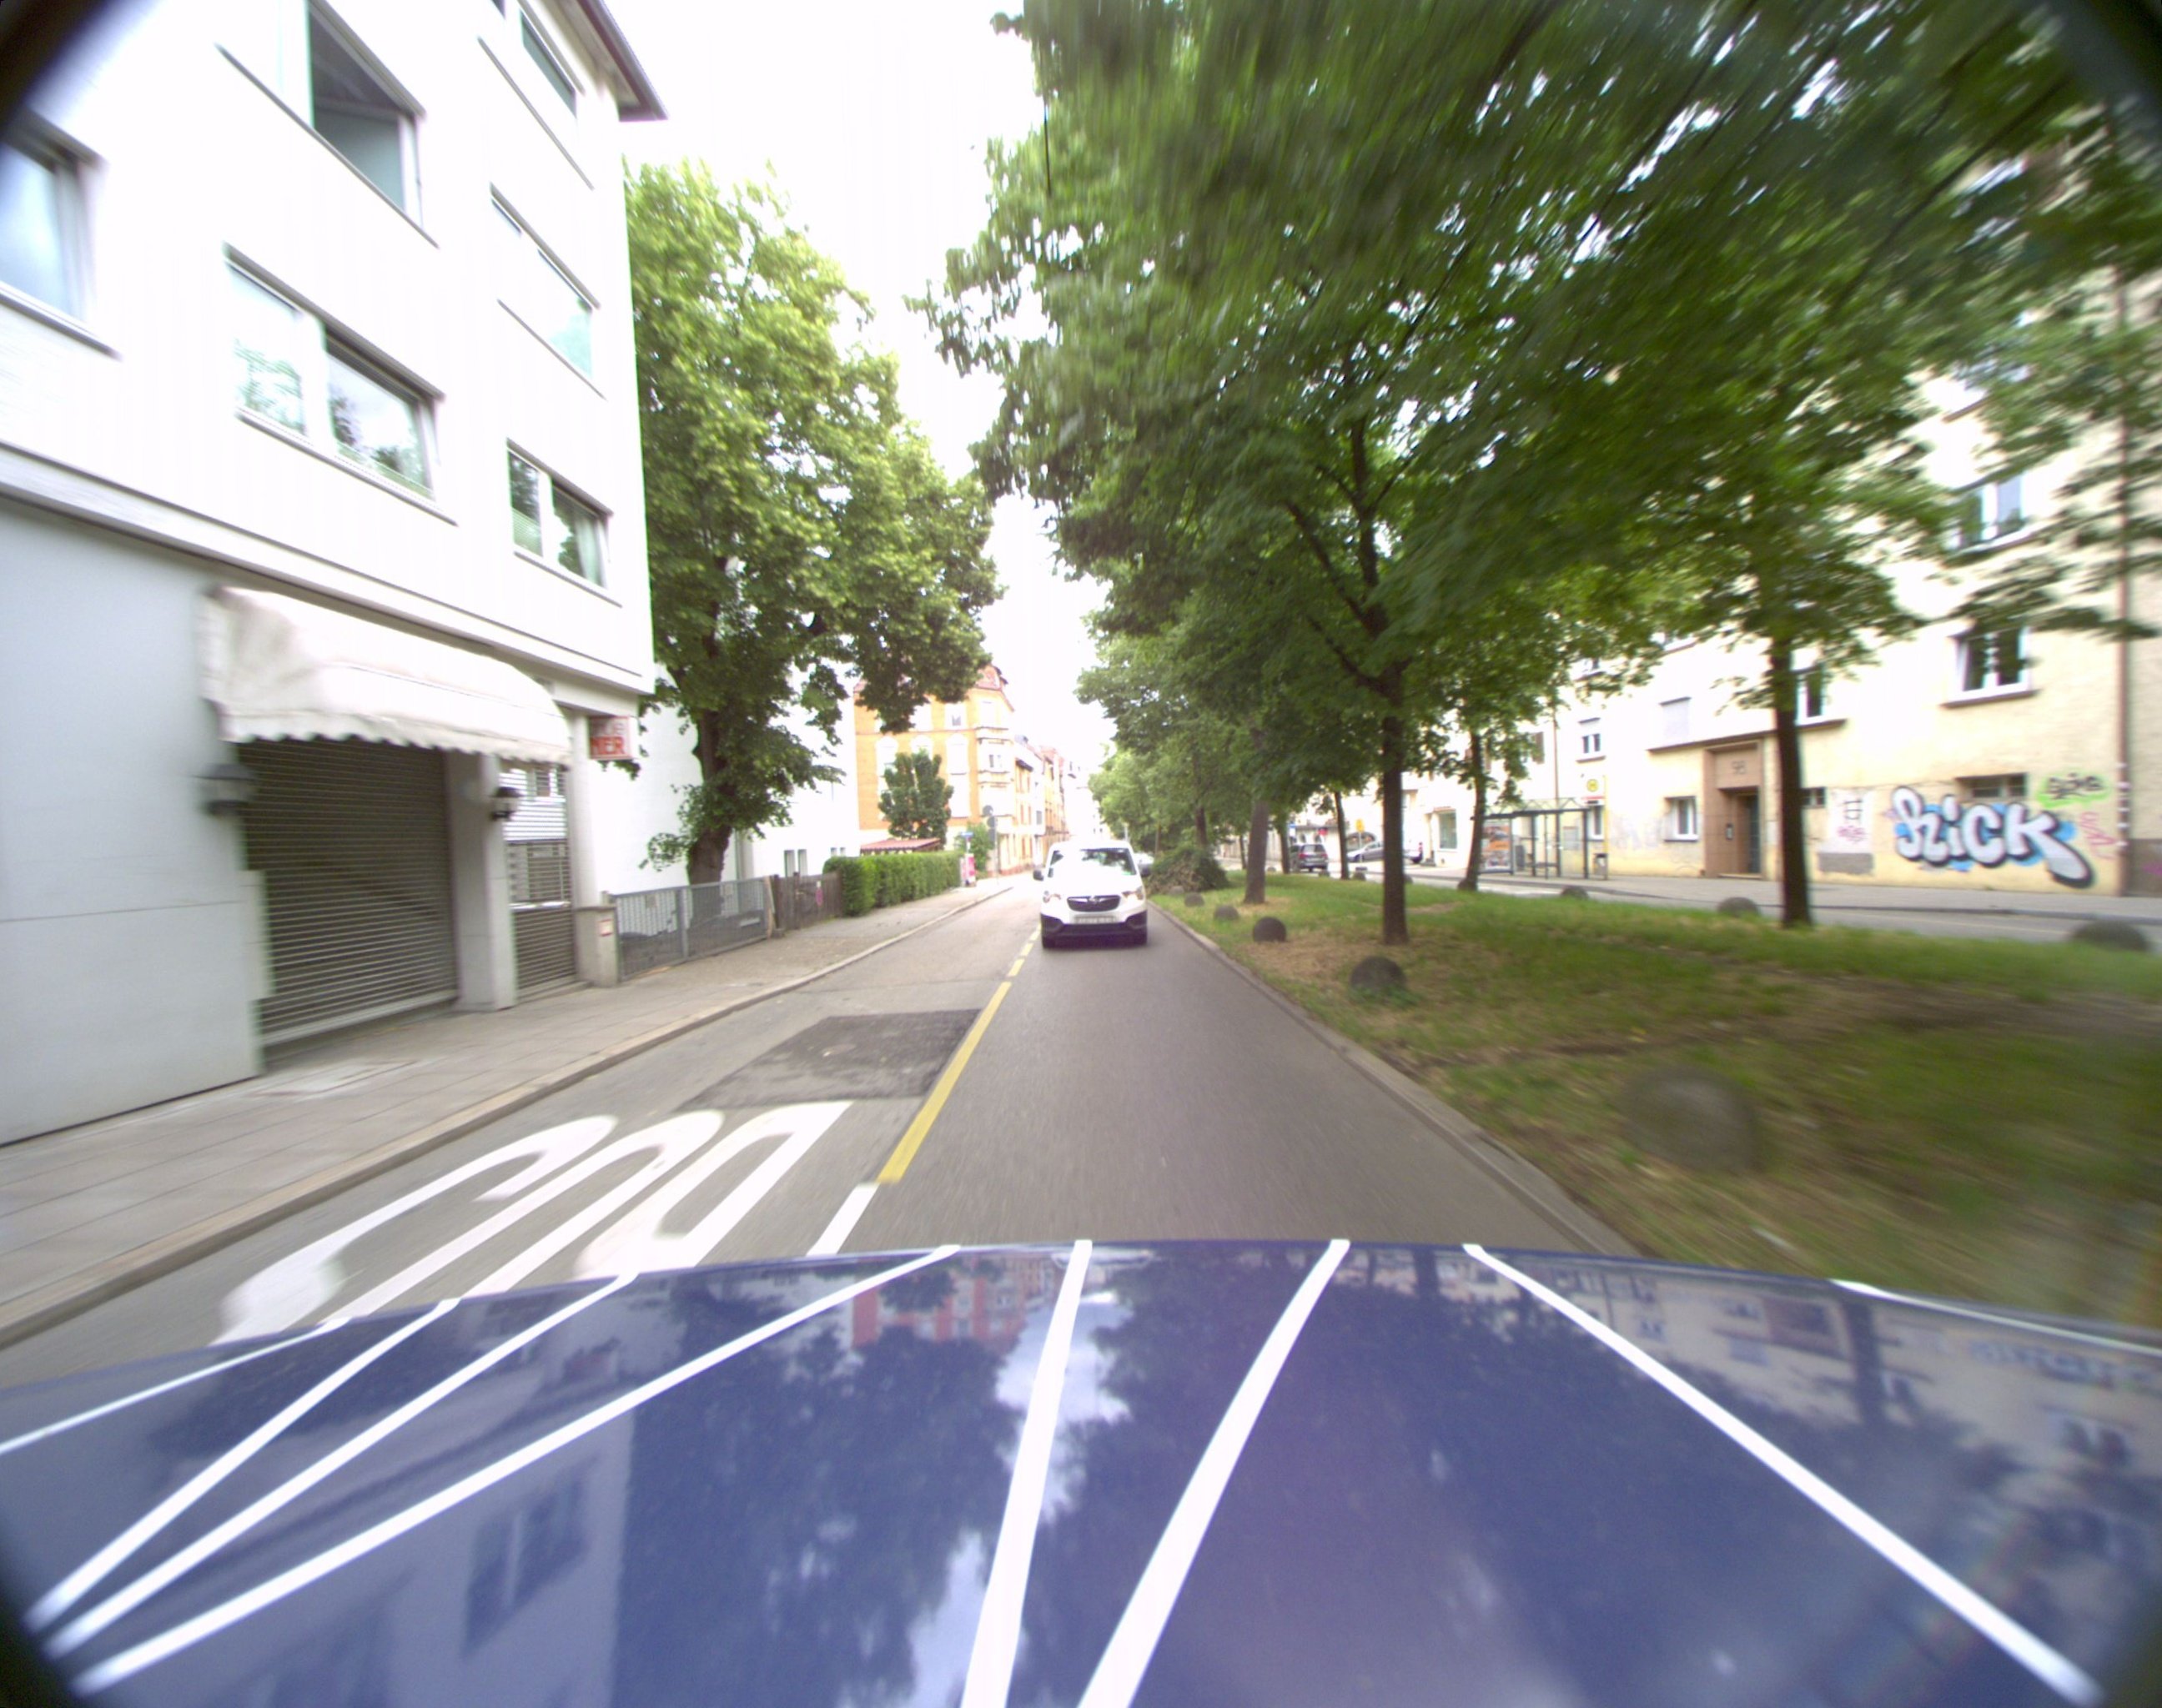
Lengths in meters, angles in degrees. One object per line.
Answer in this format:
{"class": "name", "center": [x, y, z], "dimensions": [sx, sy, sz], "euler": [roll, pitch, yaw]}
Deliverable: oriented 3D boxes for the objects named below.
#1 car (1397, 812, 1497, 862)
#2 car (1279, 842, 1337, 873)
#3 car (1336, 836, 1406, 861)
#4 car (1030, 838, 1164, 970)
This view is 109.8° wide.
{"class": "car", "center": [22.663, -1.037, 47.136], "dimensions": [5.190, 2.720, 2.175], "euler": [-4, 1, -10]}
{"class": "car", "center": [12.853, 0.170, 43.356], "dimensions": [1.953, 1.619, 4.365], "euler": [-2, 0, 0]}
{"class": "car", "center": [21.322, -0.409, 55.996], "dimensions": [4.298, 1.411, 2.048], "euler": [-5, 0, 3]}
{"class": "car", "center": [0.455, 0.696, 12.959], "dimensions": [1.745, 1.830, 4.345], "euler": [-2, 0, 7]}
